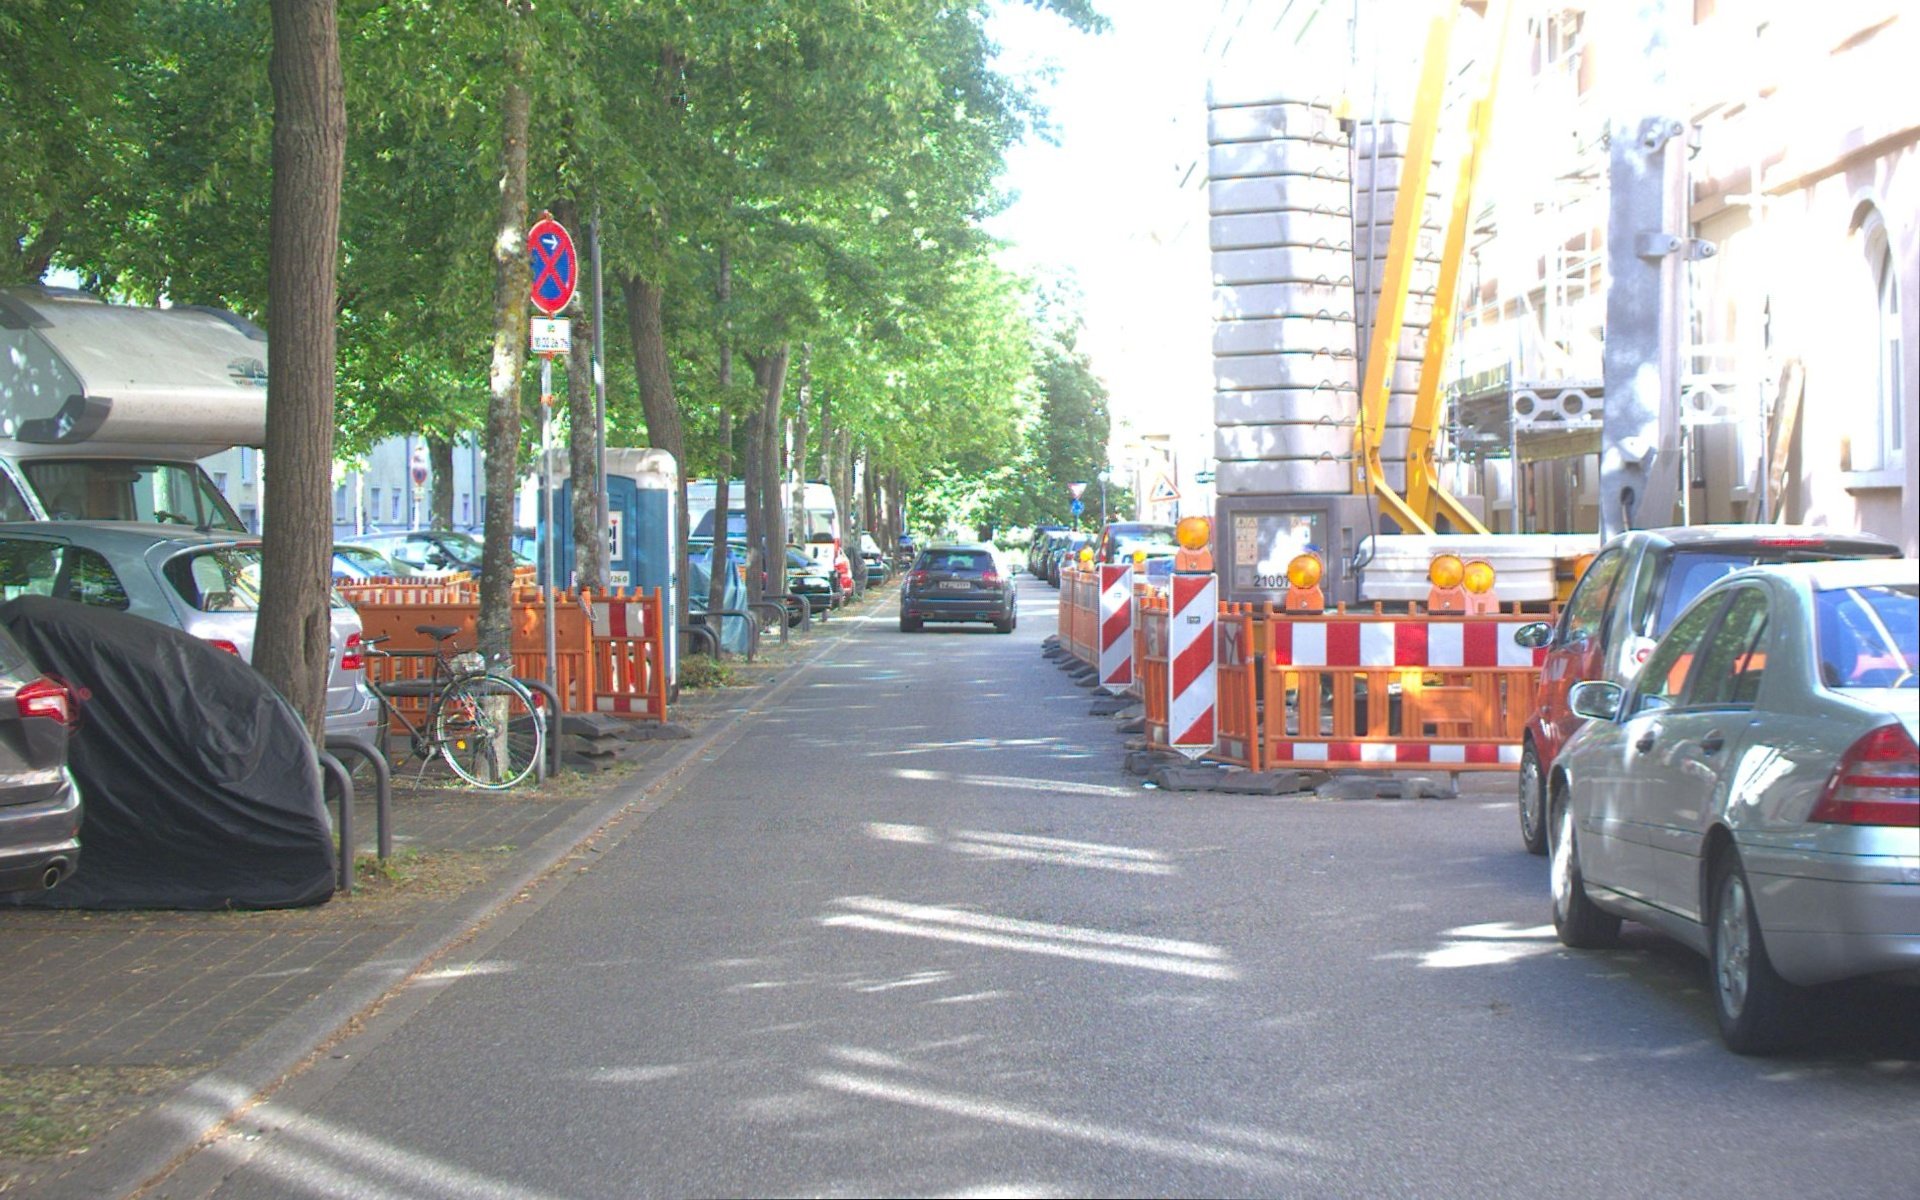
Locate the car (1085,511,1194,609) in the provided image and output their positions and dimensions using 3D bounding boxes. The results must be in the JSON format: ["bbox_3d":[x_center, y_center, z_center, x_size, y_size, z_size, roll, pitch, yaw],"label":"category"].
[{"bbox_3d":[3.395,-0.783,65.603,1.797,1.794,3.586,-1,1,-1],"label":"car"}]

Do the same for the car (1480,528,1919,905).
[{"bbox_3d":[3.356,0.444,15.386,1.591,1.525,2.781,0,1,-1],"label":"car"}]

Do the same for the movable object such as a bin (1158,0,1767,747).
[{"bbox_3d":[3.467,-2.466,23.683,3.485,6.736,2.364,0,1,33],"label":"movable object such as a bin"}]

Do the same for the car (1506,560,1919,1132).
[{"bbox_3d":[3.139,0.601,11.022,1.993,1.404,4.501,0,1,-1],"label":"car"}]

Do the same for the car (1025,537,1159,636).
[{"bbox_3d":[1.941,-0.229,51.449,1.797,1.380,3.586,-1,1,-1],"label":"car"}]

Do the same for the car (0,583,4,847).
[{"bbox_3d":[-6.643,0.442,16.527,3.961,1.469,1.819,0,1,35],"label":"car"}]

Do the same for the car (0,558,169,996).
[{"bbox_3d":[-4.911,0.581,11.973,3.959,1.409,1.820,0,1,28],"label":"car"}]

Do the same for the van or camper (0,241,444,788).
[{"bbox_3d":[-6.924,-0.524,22.998,6.666,3.229,2.492,0,1,29],"label":"van or camper"}]

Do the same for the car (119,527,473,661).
[{"bbox_3d":[-8.385,-0.078,43.372,3.993,1.601,1.997,0,1,28],"label":"car"}]

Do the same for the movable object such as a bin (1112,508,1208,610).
[{"bbox_3d":[4.512,-0.955,78.132,1.797,2.225,4.607,-1,1,-1],"label":"movable object such as a bin"}]

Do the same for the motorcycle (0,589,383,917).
[{"bbox_3d":[-3.677,0.600,13.814,2.551,1.254,0.762,0,1,8],"label":"motorcycle"}]

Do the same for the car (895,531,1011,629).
[{"bbox_3d":[-0.137,-0.353,56.101,1.797,1.498,3.586,-1,1,-1],"label":"car"}]

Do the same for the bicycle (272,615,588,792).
[{"bbox_3d":[-3.131,0.597,20.258,1.899,1.003,0.430,0,1,24],"label":"bicycle"}]

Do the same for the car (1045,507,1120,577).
[{"bbox_3d":[3.243,-1.571,91.778,1.797,1.794,3.586,-1,1,-1],"label":"car"}]

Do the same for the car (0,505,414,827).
[{"bbox_3d":[-5.199,0.317,19.029,3.958,1.623,1.820,0,1,26],"label":"car"}]

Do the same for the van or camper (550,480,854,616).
[{"bbox_3d":[-4.870,-0.968,64.655,5.342,2.466,2.290,0,2,32],"label":"van or camper"}]
